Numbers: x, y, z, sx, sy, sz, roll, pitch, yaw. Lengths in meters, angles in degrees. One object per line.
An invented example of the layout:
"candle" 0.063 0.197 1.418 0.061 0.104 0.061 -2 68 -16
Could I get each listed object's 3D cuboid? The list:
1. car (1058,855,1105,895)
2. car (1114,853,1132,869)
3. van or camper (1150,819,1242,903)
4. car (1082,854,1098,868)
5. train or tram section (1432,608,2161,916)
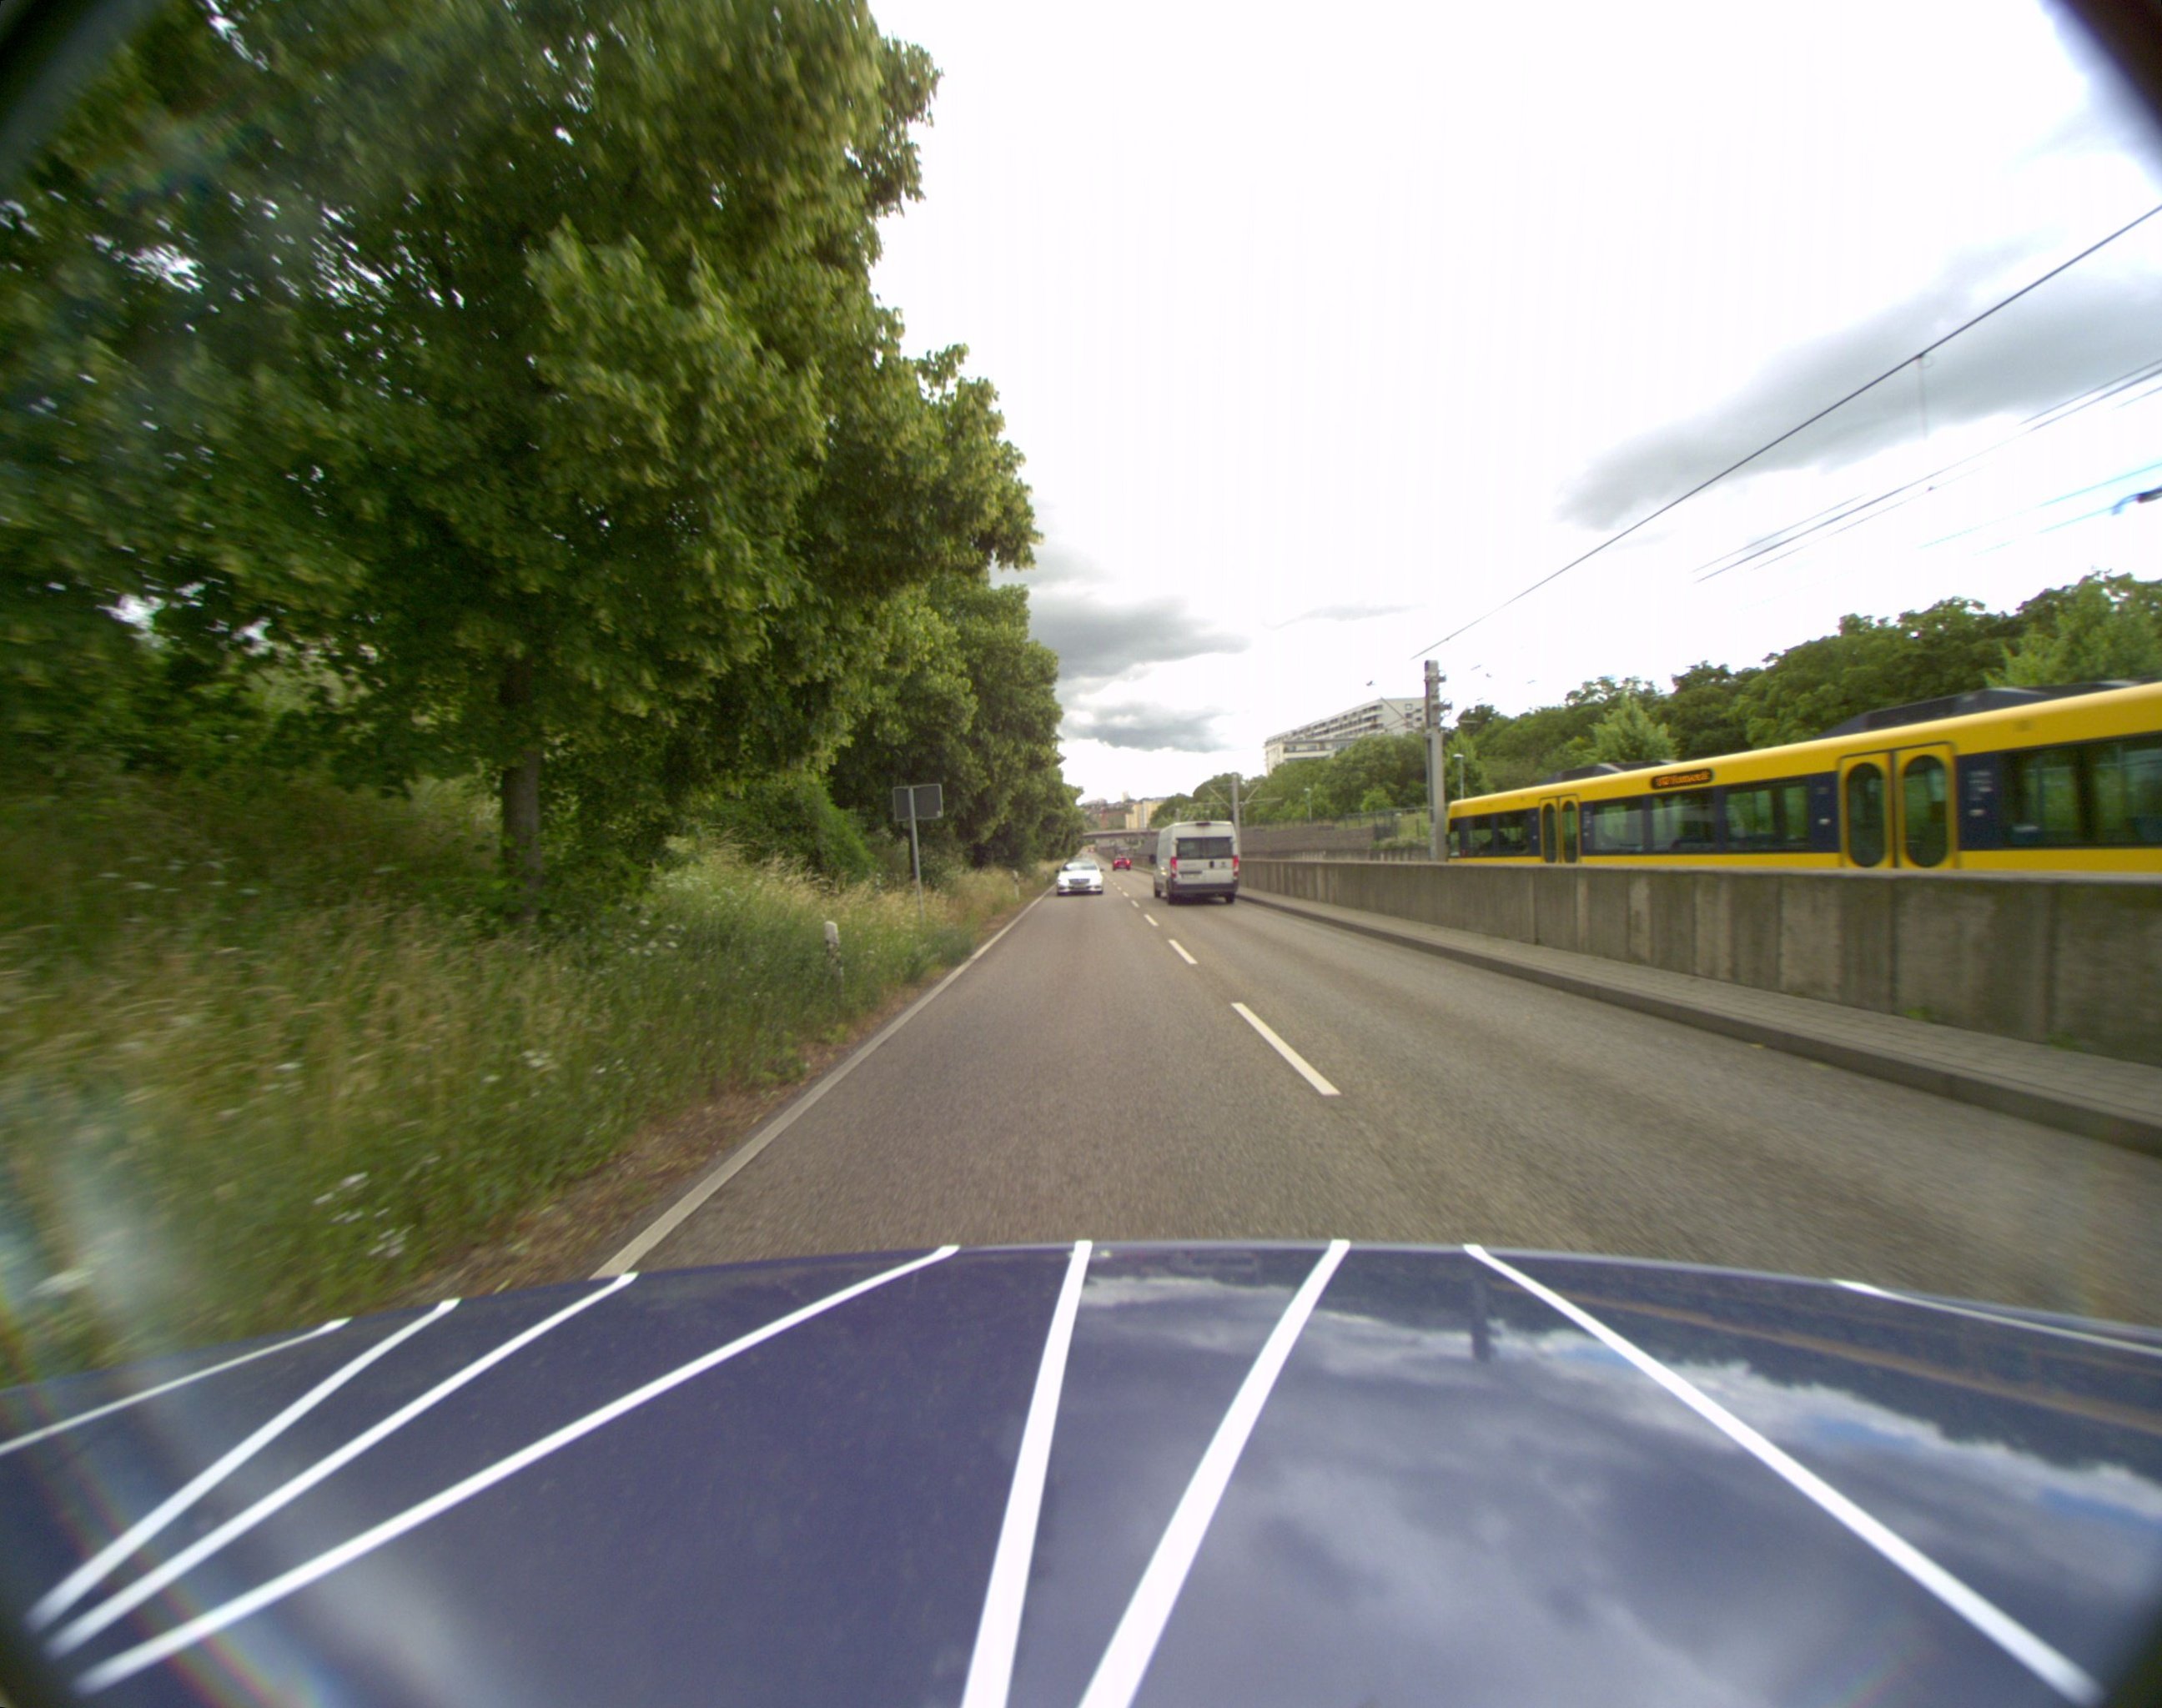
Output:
"car" 0.040 0.850 32.254 1.842 1.499 4.160 -1 0 1
"car" 4.281 0.659 77.689 1.667 1.536 3.952 -2 0 0
"van or camper" 3.676 0.199 25.450 2.088 2.382 6.137 -2 0 0
"car" 1.256 0.934 102.772 1.998 1.746 4.000 -2 0 1
"train or tram section" 12.375 -1.073 14.375 2.818 3.099 18.912 -2 1 0
